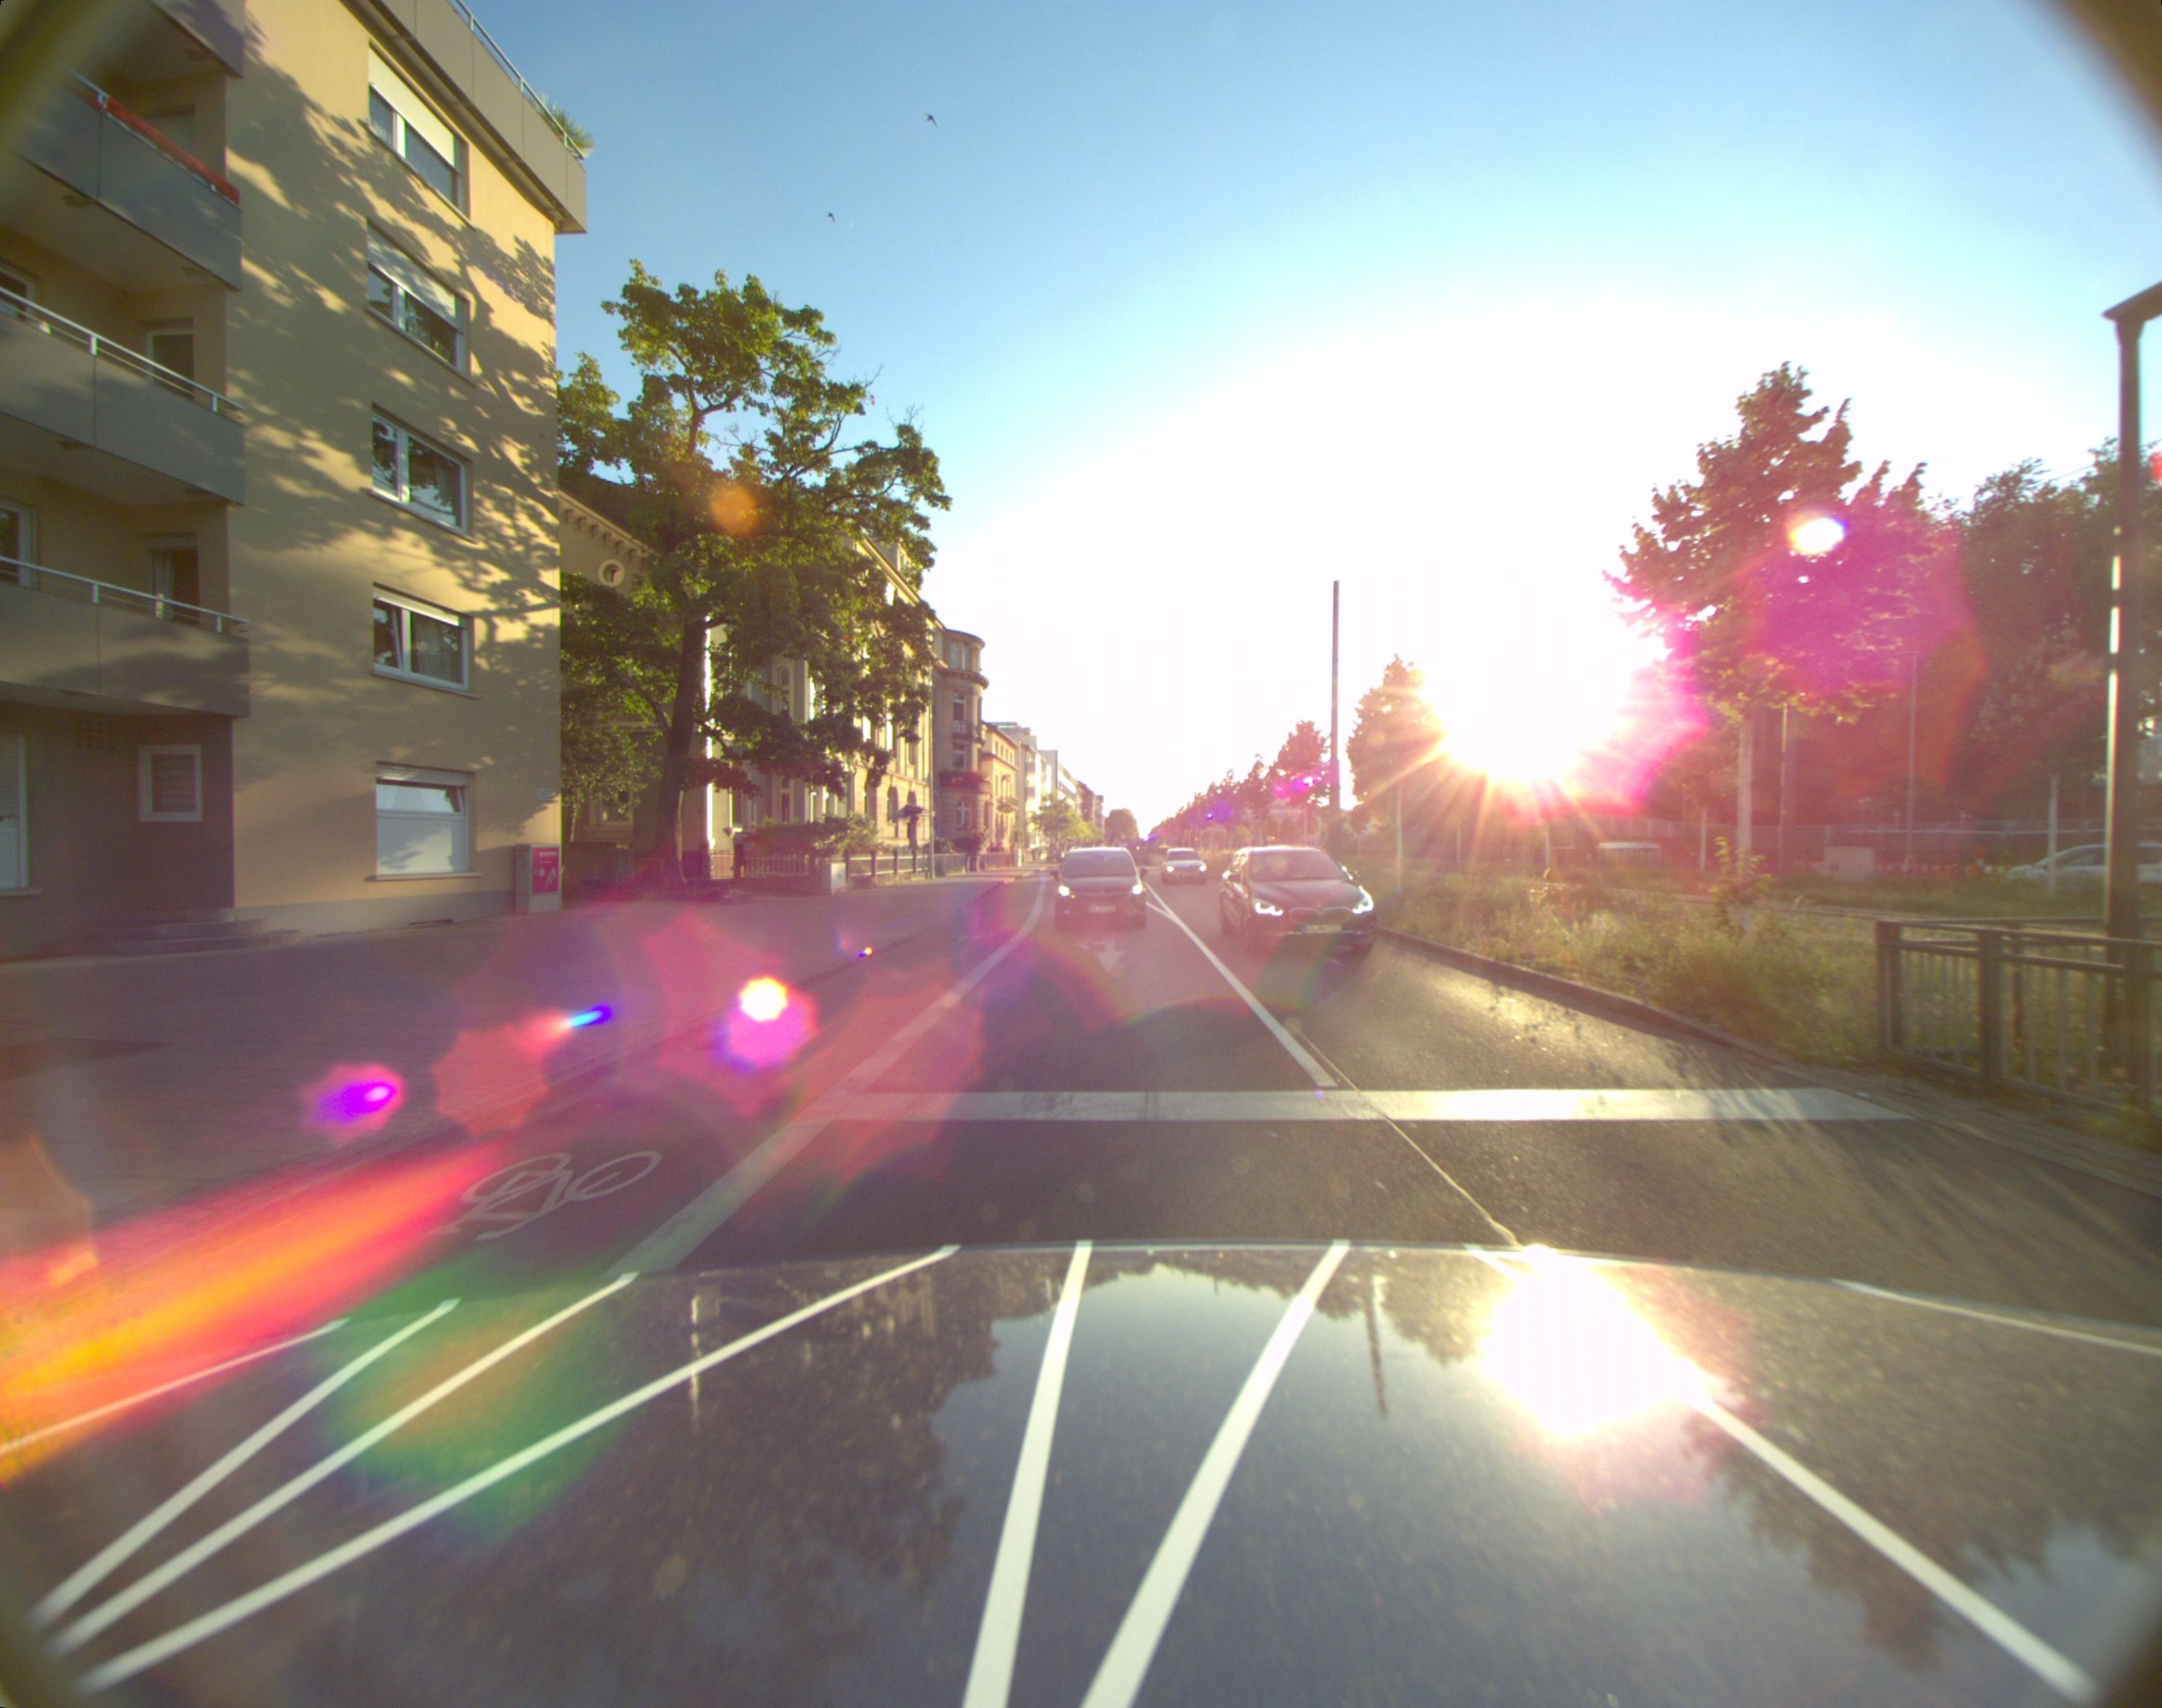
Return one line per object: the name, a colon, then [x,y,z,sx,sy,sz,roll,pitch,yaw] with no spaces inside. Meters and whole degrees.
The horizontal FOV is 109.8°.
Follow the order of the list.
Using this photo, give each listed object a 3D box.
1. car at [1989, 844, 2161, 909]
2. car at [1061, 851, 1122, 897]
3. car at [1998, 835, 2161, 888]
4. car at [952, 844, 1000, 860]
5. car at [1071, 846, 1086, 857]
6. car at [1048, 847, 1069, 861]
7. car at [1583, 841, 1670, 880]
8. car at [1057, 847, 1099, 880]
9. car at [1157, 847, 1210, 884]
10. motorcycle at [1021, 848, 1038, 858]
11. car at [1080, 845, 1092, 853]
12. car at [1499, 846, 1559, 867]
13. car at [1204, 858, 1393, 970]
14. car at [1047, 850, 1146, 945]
car: [25.663,0.487,18.857,1.804,1.473,3.783,0,1,3]
car: [0.281,0.662,27.004,1.860,1.425,4.841,-1,0,-3]
car: [31.179,0.195,22.784,1.998,1.472,4.524,-1,0,4]
car: [-9.634,-0.194,69.945,4.096,1.473,1.939,-1,1,4]
car: [-0.380,-0.386,107.838,1.936,1.473,4.100,-1,1,2]
car: [-2.325,-0.040,78.818,1.882,1.394,4.100,-1,1,2]
car: [32.324,0.389,45.216,1.998,2.155,4.752,-1,0,4]
car: [-0.106,0.459,36.778,1.859,1.425,4.843,-1,0,0]
car: [4.397,0.489,33.152,1.859,1.425,4.844,-1,0,3]
motorcycle: [-5.813,-0.152,86.213,1.848,1.091,0.576,-1,1,9]
car: [0.922,-0.968,137.665,1.936,1.473,4.100,-1,1,2]
car: [33.148,0.184,56.364,1.998,1.472,4.523,-1,0,3]
car: [3.257,0.810,12.439,1.859,1.425,4.844,-1,0,2]
car: [0.281,0.770,16.222,1.771,1.649,4.851,-1,1,0]
